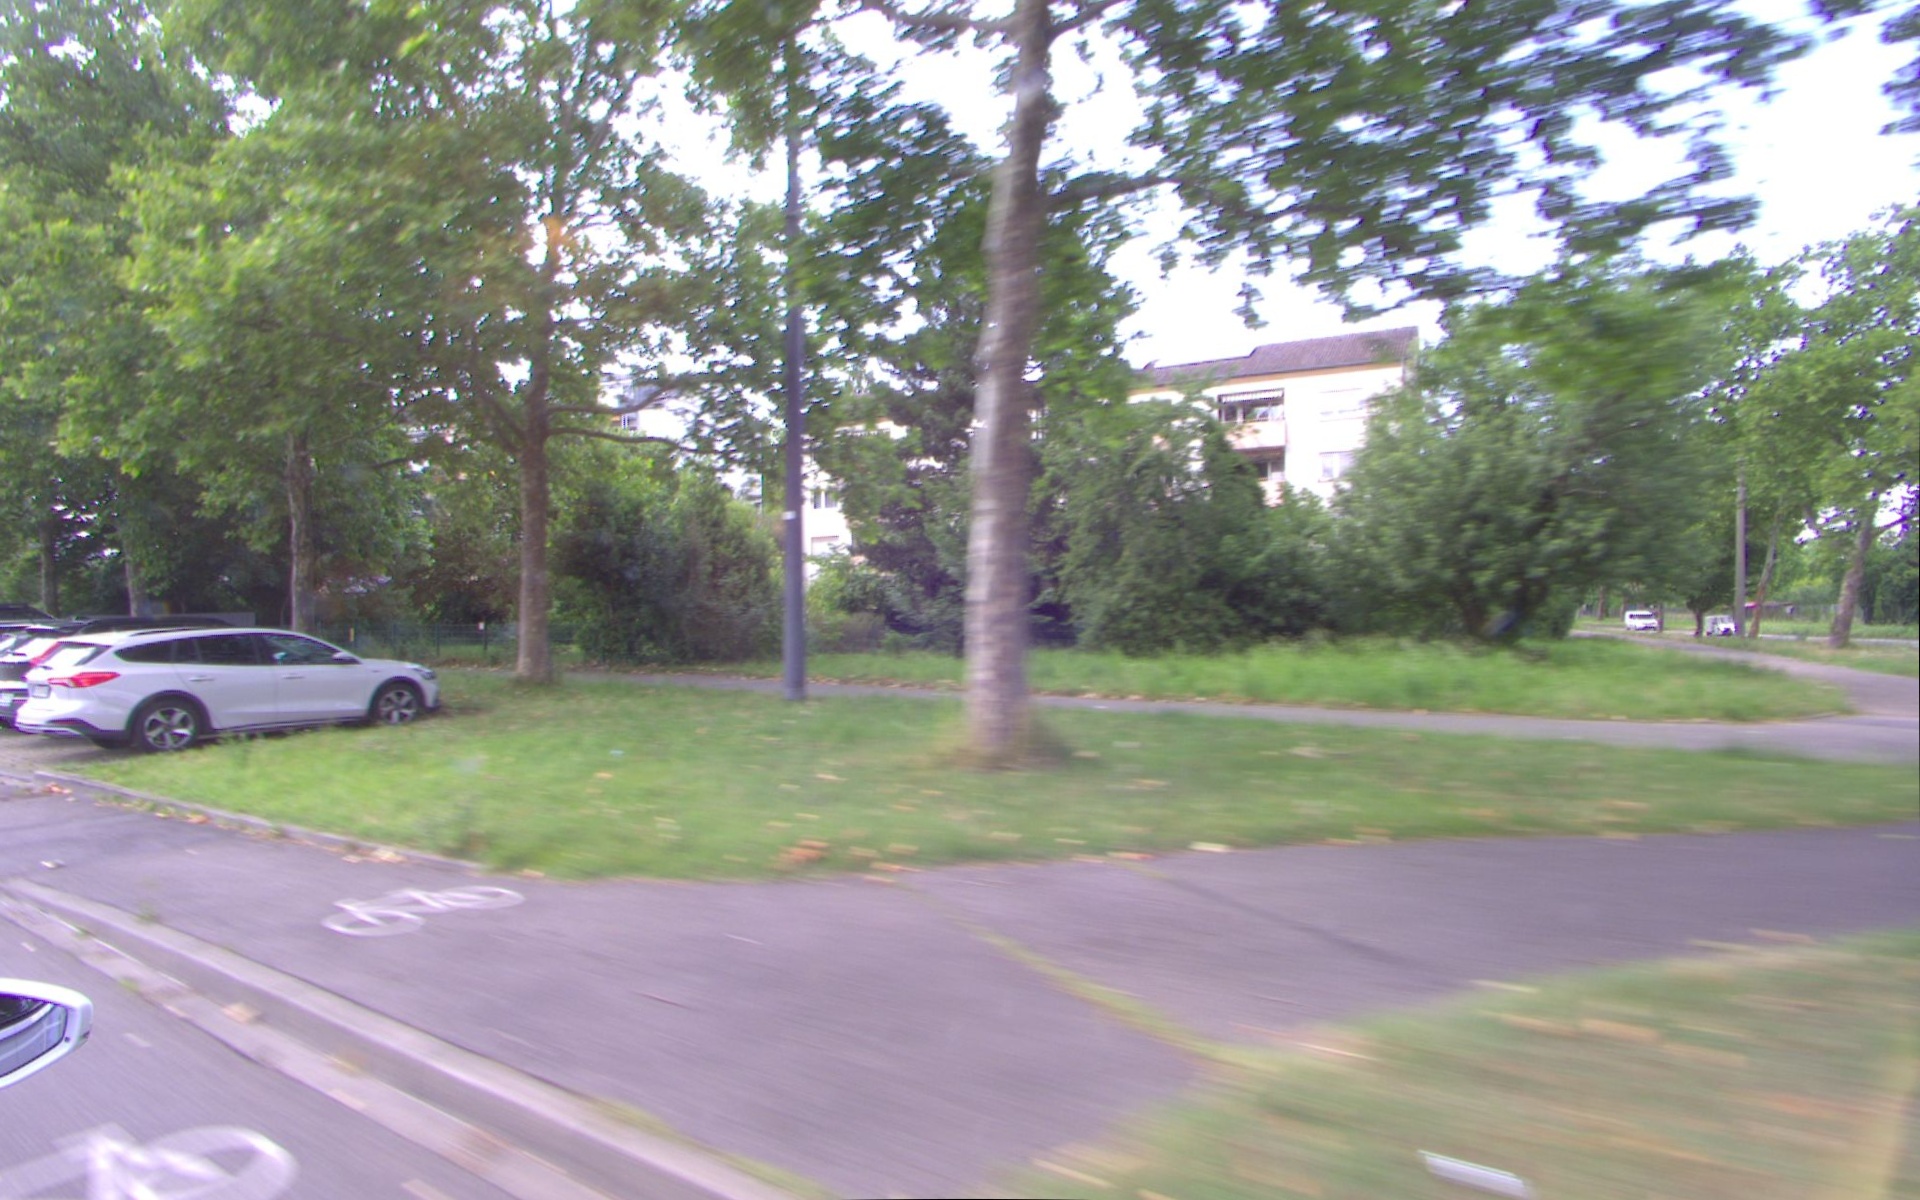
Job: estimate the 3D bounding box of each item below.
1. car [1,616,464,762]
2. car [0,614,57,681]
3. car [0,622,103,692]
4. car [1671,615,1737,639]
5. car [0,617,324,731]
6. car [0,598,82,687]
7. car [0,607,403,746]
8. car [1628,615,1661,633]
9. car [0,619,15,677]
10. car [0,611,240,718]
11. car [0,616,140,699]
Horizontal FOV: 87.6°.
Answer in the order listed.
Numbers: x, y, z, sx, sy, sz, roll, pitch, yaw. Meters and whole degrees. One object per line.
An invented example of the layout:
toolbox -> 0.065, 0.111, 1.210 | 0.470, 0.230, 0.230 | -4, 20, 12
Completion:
car -> -9.357, 1.014, 13.350 | 1.821, 1.493, 4.648 | -1, 0, 32
car -> -27.518, 1.326, 26.910 | 1.831, 1.789, 4.531 | -1, 0, 35
car -> -22.107, 1.309, 22.552 | 1.733, 1.514, 3.953 | -1, 0, 35
car -> 50.786, 1.825, 68.458 | 1.963, 1.533, 4.683 | -1, -1, 14
car -> -13.064, 1.081, 16.198 | 1.734, 1.521, 4.364 | 0, 0, 38
car -> -24.553, 1.058, 24.318 | 1.831, 2.151, 4.531 | -1, 0, 35
car -> -11.047, 0.966, 14.772 | 1.821, 1.647, 4.648 | 0, 0, 32
car -> 65.953, 2.293, 96.535 | 1.967, 1.728, 3.989 | 0, -1, 23
car -> -29.791, 1.439, 28.031 | 1.829, 1.682, 4.537 | -1, 0, 31
car -> -15.421, 1.073, 17.442 | 1.734, 1.661, 4.364 | -1, 0, 38
car -> -19.851, 1.189, 20.826 | 1.728, 1.626, 3.964 | -1, 0, 25
